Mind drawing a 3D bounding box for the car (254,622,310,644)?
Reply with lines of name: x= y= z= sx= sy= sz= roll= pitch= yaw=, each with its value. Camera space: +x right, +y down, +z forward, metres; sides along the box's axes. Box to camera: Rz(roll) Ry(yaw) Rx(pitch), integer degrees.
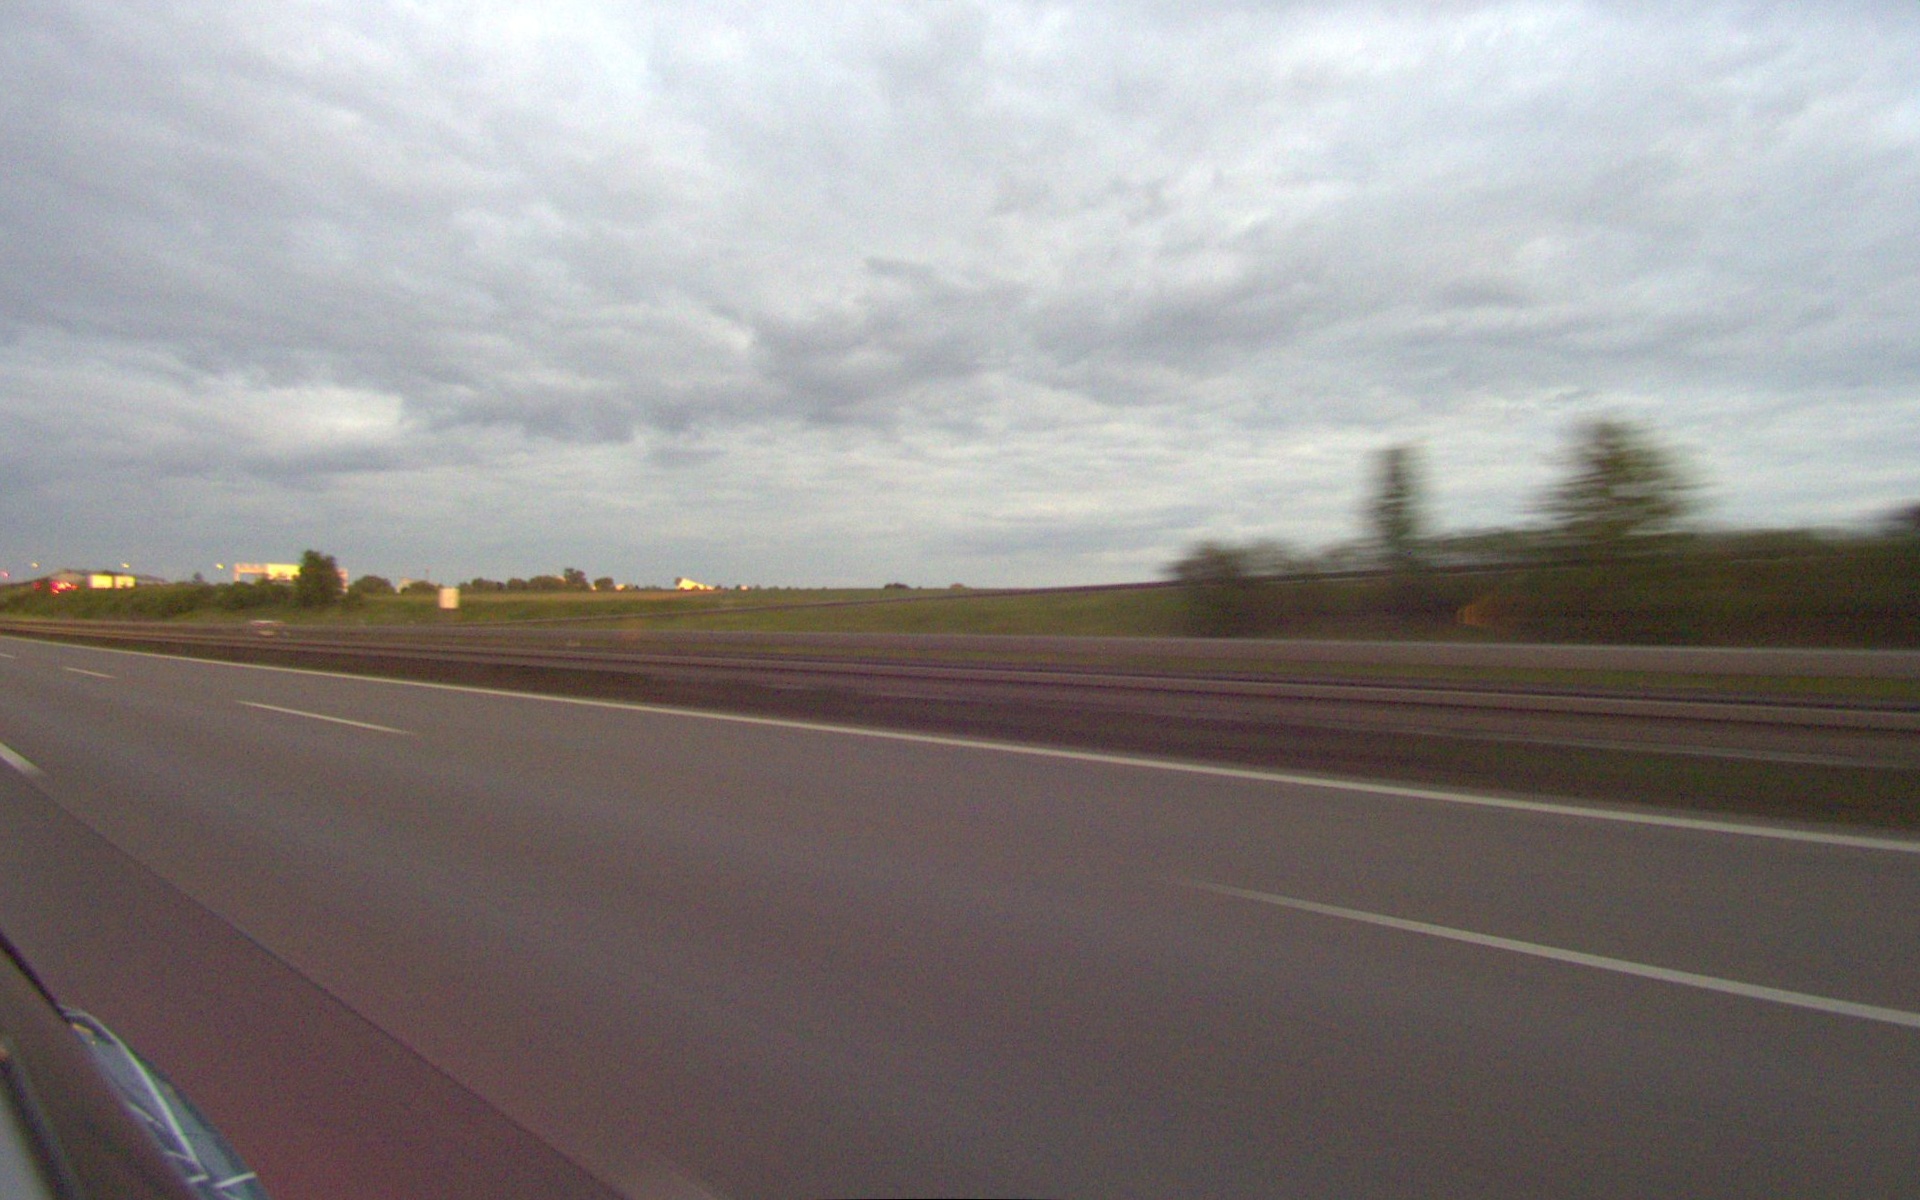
car: x=-43.119 y=2.059 z=64.325 sx=4.173 sy=1.360 sz=1.973 roll=-1 pitch=-2 yaw=41
